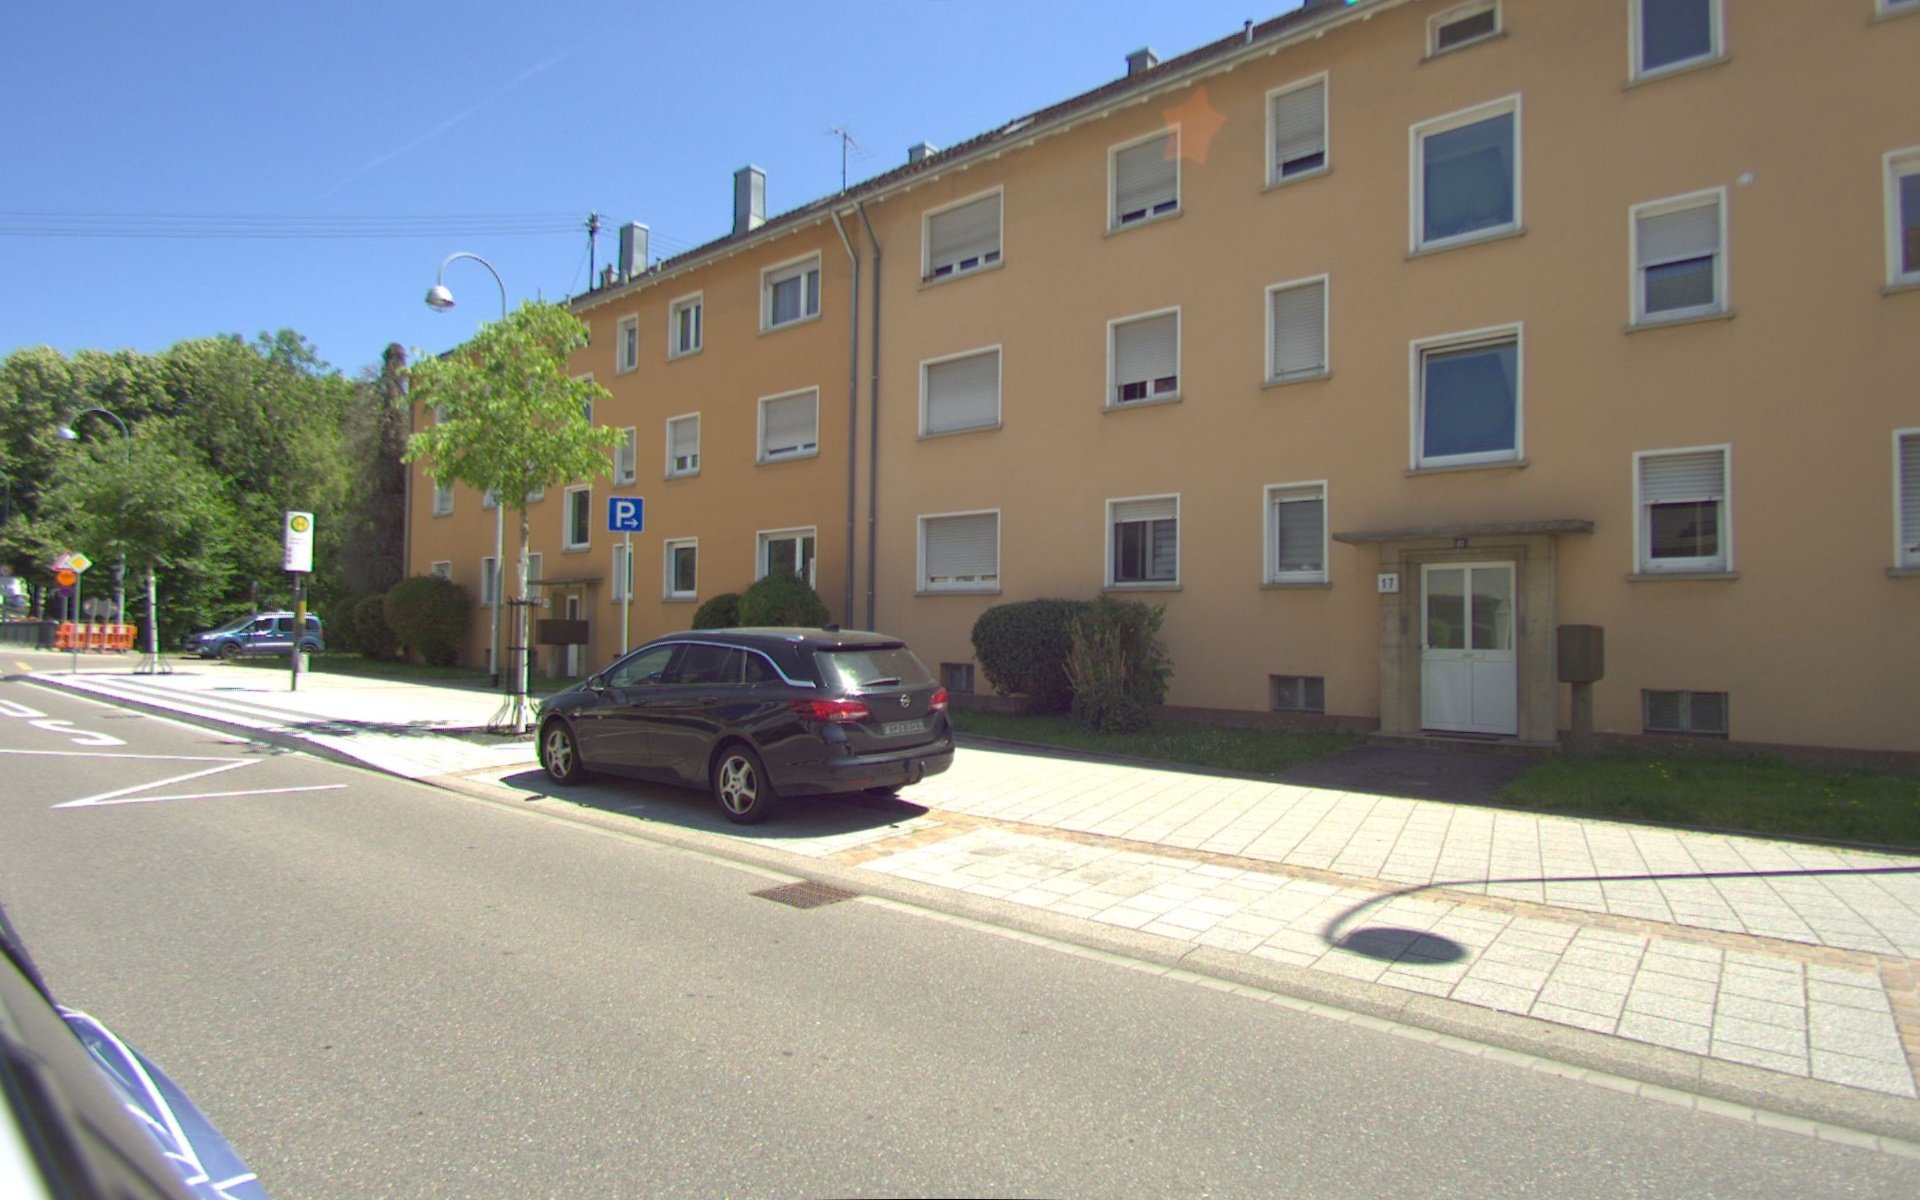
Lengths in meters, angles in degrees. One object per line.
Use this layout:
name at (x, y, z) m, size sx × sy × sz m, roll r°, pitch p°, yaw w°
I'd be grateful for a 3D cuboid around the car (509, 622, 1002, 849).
car at (-2.005, 0.986, 9.088) m, size 4.556 × 1.518 × 1.839 m, roll -1°, pitch -1°, yaw 38°

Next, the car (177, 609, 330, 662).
car at (-26.762, 1.389, 38.505) m, size 1.811 × 1.888 × 4.393 m, roll 0°, pitch -3°, yaw 29°
